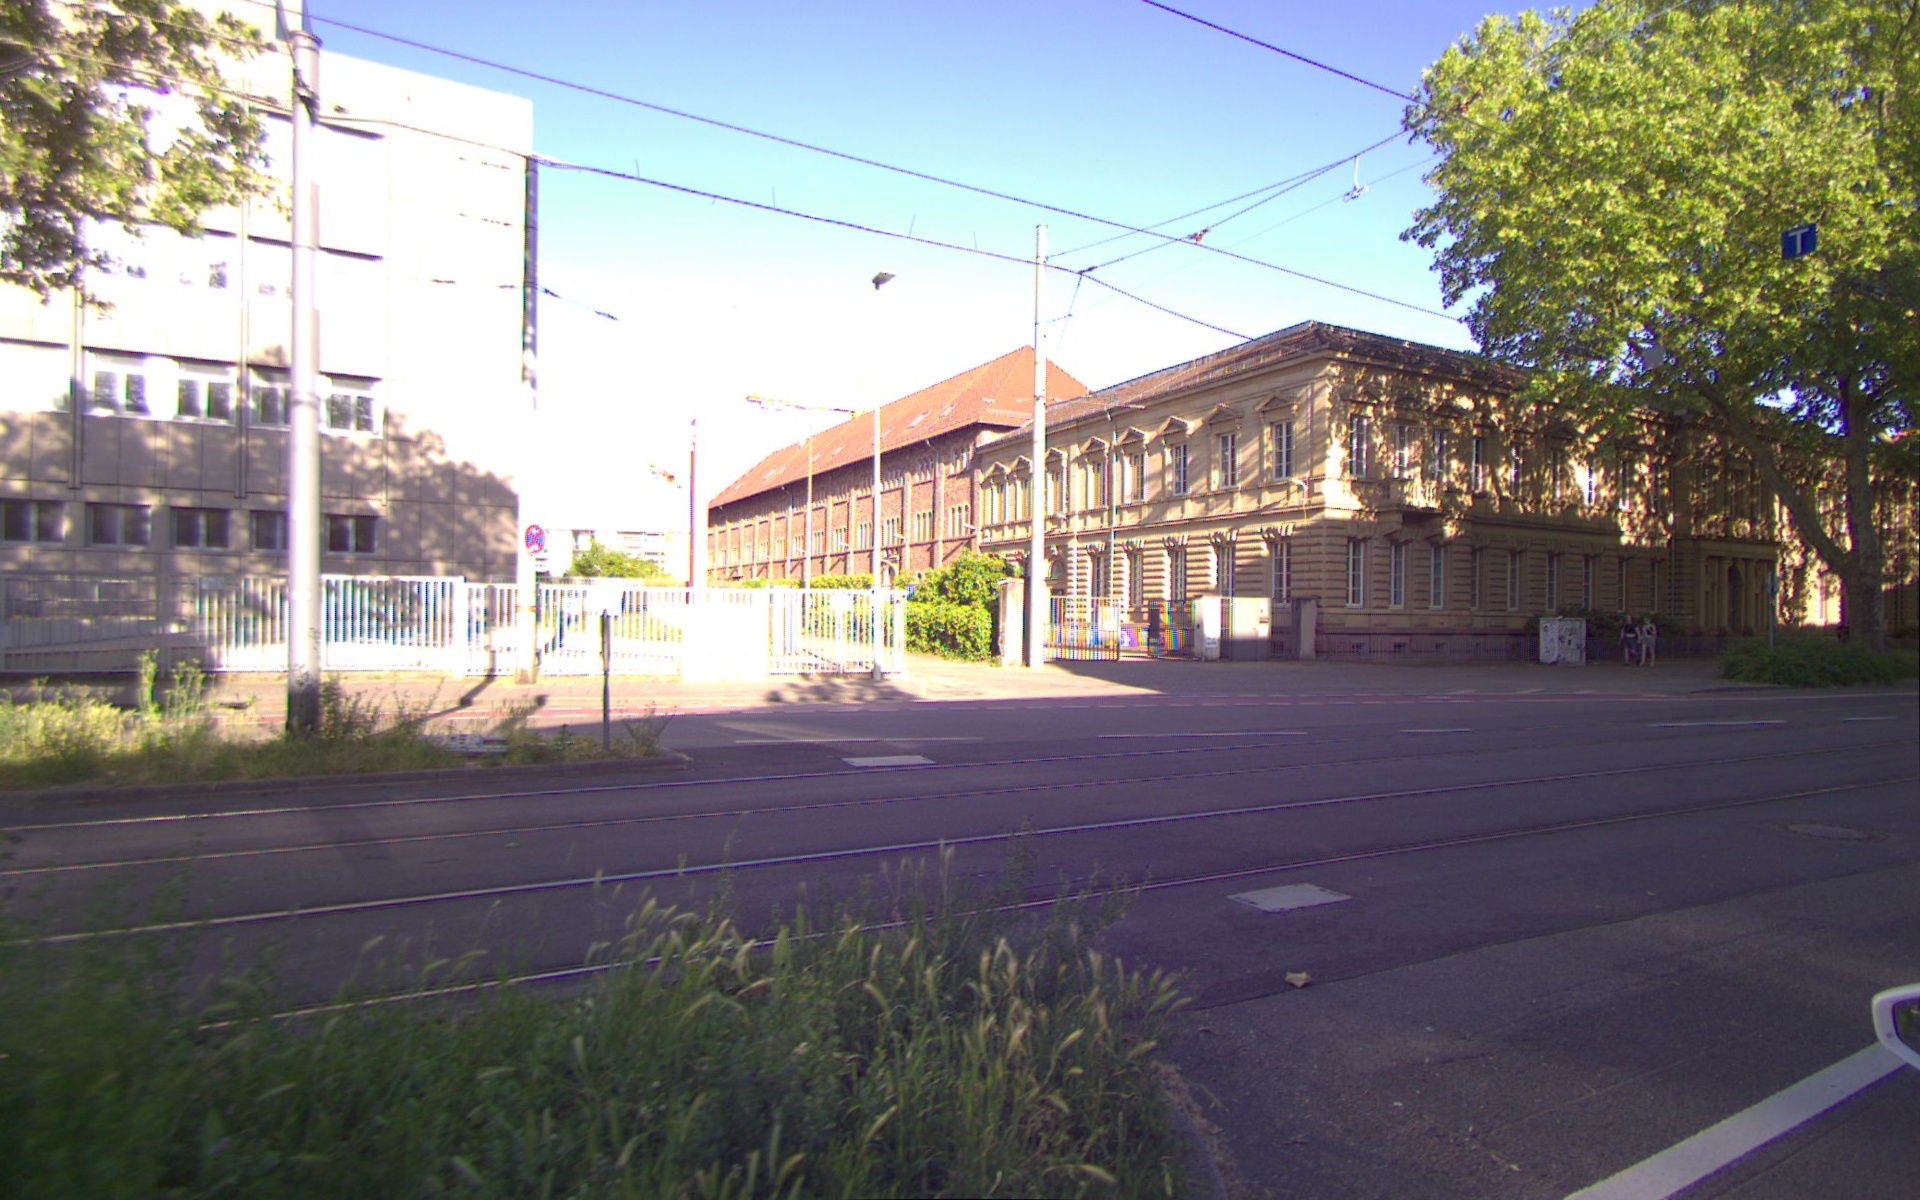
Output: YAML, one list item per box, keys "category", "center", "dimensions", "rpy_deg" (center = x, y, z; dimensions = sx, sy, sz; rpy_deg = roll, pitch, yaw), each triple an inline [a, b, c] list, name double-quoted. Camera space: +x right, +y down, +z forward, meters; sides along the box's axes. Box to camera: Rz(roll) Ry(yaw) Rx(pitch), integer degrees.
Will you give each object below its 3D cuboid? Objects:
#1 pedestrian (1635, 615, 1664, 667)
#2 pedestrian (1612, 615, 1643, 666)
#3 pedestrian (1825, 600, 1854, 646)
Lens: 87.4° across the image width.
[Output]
- category: "pedestrian"
  center: [23.338, 1.380, 33.997]
  dimensions: [0.650, 1.720, 0.629]
  rpy_deg: [1, 0, -36]
- category: "pedestrian"
  center: [22.951, 1.399, 34.546]
  dimensions: [0.655, 1.720, 0.666]
  rpy_deg: [1, 0, -36]
- category: "pedestrian"
  center: [36.615, 0.946, 41.801]
  dimensions: [0.829, 1.874, 0.714]
  rpy_deg: [1, 0, -36]
